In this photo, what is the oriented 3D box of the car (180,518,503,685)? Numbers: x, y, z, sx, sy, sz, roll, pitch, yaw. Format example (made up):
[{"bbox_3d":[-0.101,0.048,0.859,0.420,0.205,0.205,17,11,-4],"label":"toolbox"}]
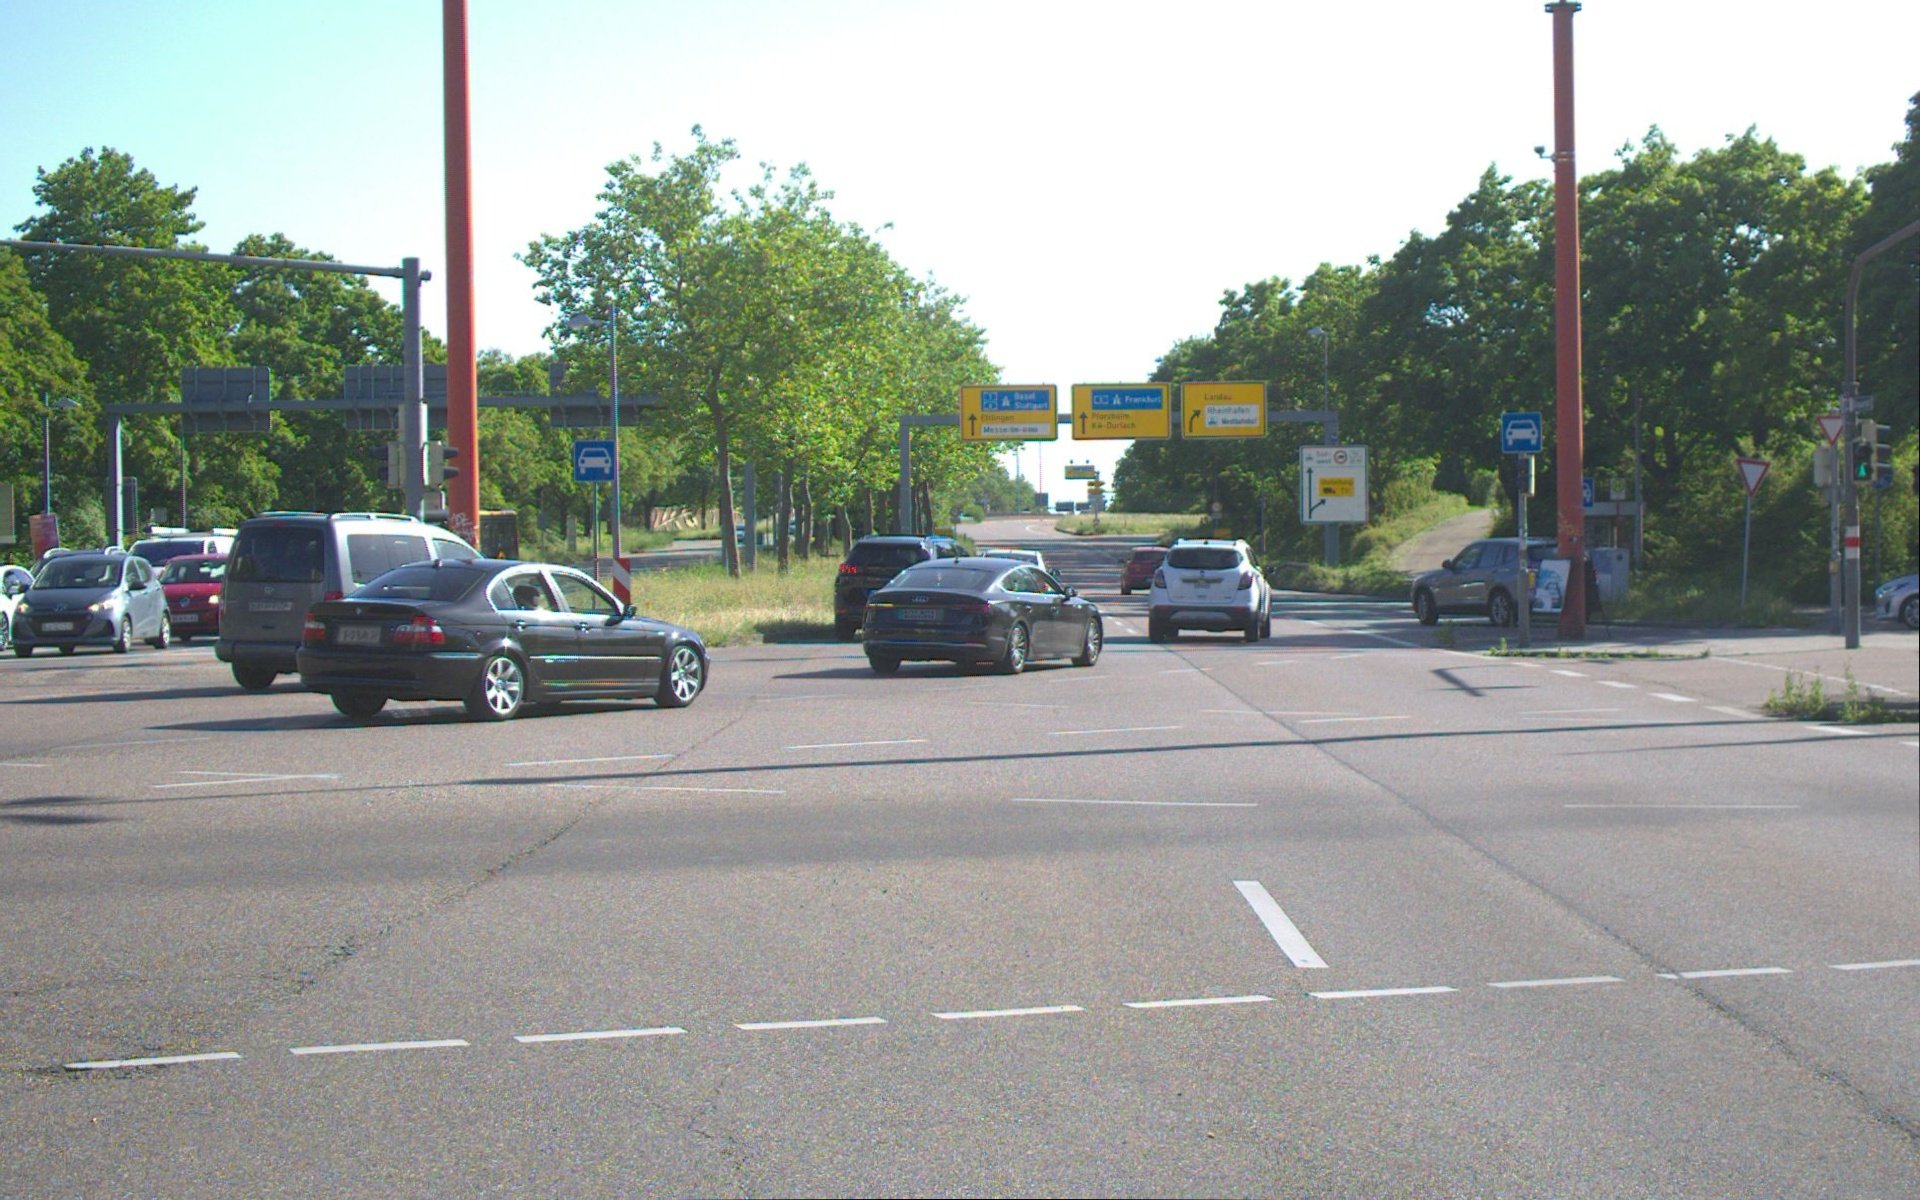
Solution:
[{"bbox_3d":[-6.628,-0.022,37.321,1.847,1.702,4.304,0,1,14],"label":"car"}]

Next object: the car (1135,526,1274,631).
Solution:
[{"bbox_3d":[4.030,-0.367,56.052,1.823,1.630,4.251,0,1,10],"label":"car"}]

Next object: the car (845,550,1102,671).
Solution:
[{"bbox_3d":[0.224,0.093,41.465,1.761,1.345,4.359,0,1,19],"label":"car"}]

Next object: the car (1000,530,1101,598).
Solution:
[{"bbox_3d":[1.860,-0.704,69.577,1.483,1.341,3.998,0,0,10],"label":"car"}]

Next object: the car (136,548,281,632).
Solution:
[{"bbox_3d":[-12.694,-0.191,58.271,1.739,1.357,3.613,-1,1,-1],"label":"car"}]

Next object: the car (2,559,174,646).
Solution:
[{"bbox_3d":[-13.117,0.014,51.901,1.739,1.239,3.613,-1,1,-1],"label":"car"}]

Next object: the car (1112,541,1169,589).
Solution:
[{"bbox_3d":[5.501,-1.087,105.096,1.680,1.430,4.065,-1,1,2],"label":"car"}]

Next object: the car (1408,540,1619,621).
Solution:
[{"bbox_3d":[10.495,-0.391,65.464,1.779,1.480,4.330,-1,1,-27],"label":"car"}]

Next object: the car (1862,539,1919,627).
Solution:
[{"bbox_3d":[17.317,-0.297,57.722,3.987,1.462,1.682,0,1,25],"label":"car"}]

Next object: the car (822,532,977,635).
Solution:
[{"bbox_3d":[-0.908,-0.286,54.399,1.852,1.540,4.261,-1,1,7],"label":"car"}]

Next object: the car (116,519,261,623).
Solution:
[{"bbox_3d":[-15.782,-0.592,70.578,1.893,2.019,5.223,1,0,-1],"label":"car"}]

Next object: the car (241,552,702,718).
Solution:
[{"bbox_3d":[-4.282,0.265,30.804,1.763,1.345,4.356,0,1,30],"label":"car"}]

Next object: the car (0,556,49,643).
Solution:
[{"bbox_3d":[-16.425,-0.018,57.047,1.739,1.406,3.613,-1,1,-1],"label":"car"}]
